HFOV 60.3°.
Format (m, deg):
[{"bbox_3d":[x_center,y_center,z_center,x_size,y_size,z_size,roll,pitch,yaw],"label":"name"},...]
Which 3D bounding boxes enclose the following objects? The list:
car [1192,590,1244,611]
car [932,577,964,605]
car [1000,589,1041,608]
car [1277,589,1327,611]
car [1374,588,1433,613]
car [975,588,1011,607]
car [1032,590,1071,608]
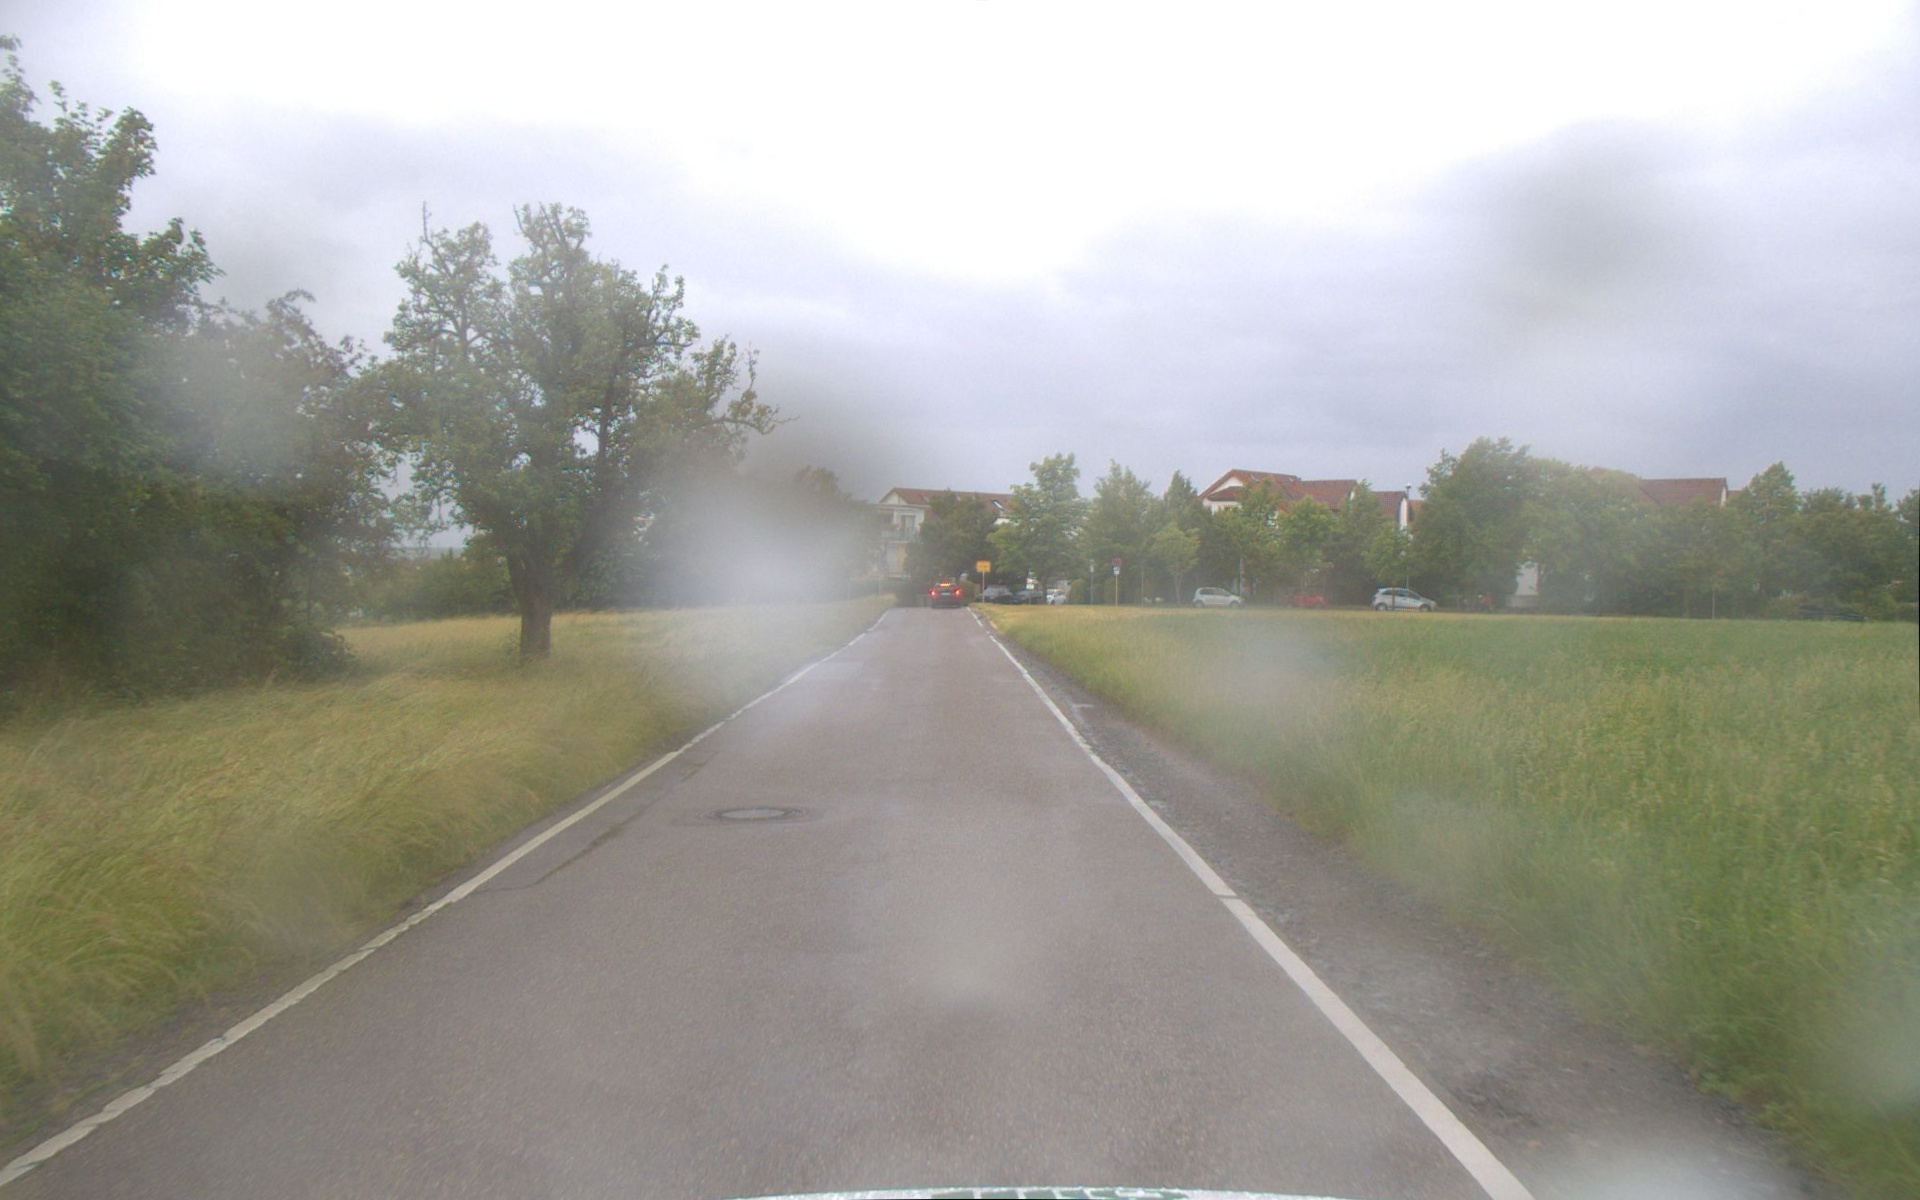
[{"bbox_3d":[17.148,0.054,109.884,3.317,1.395,1.549,0,-1,13],"label":"car"},{"bbox_3d":[-0.684,-0.514,97.470,1.777,1.622,4.000,0,-1,0],"label":"car"},{"bbox_3d":[5.234,-0.128,143.110,1.632,1.573,3.986,-1,-1,35],"label":"car"},{"bbox_3d":[22.445,0.002,108.515,3.124,1.395,1.573,0,-1,13],"label":"car"},{"bbox_3d":[28.678,0.019,107.011,3.630,1.591,1.611,0,-1,13],"label":"car"},{"bbox_3d":[2.790,-0.193,138.579,1.627,1.573,3.998,0,-1,24],"label":"car"},{"bbox_3d":[8.144,-0.110,147.431,1.632,1.573,3.986,-1,-1,35],"label":"car"}]
